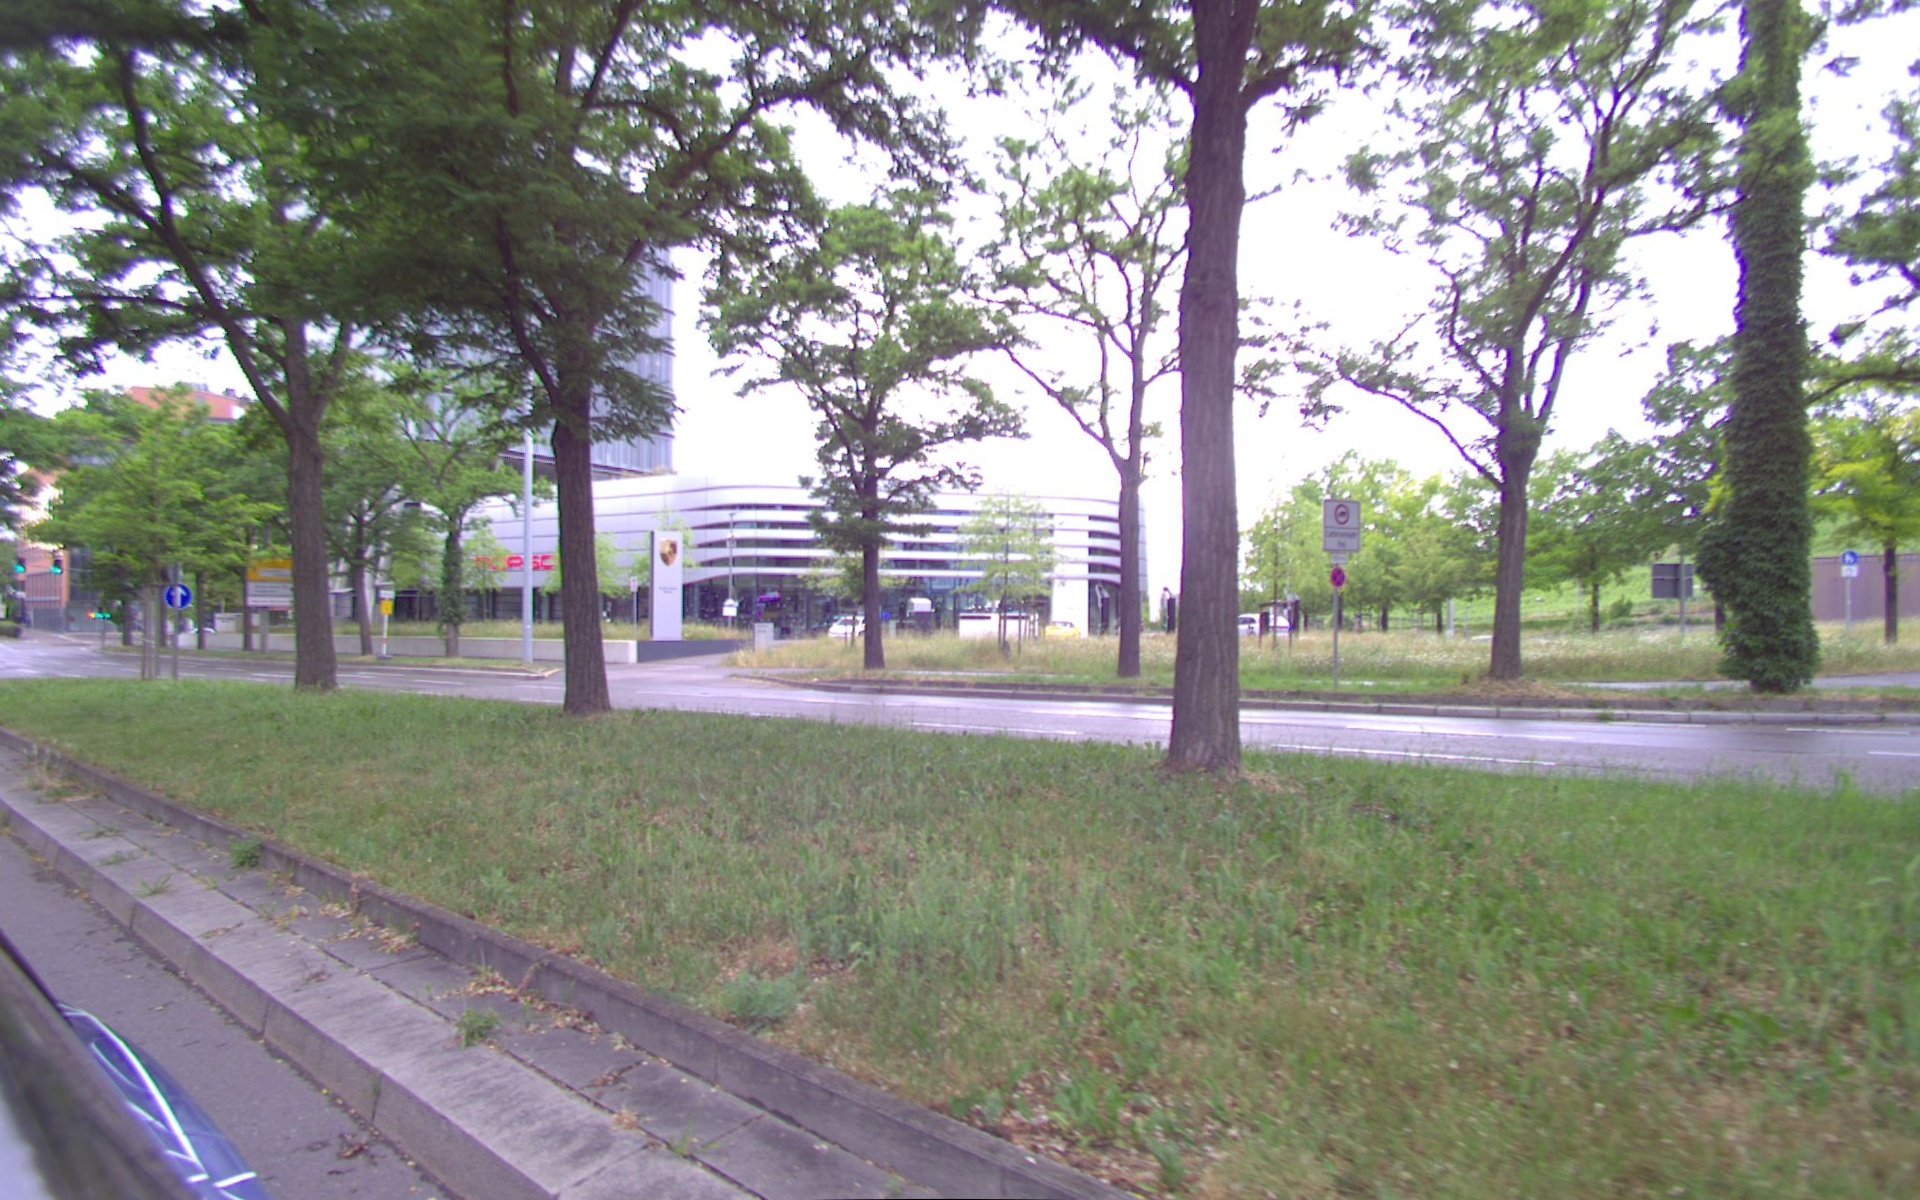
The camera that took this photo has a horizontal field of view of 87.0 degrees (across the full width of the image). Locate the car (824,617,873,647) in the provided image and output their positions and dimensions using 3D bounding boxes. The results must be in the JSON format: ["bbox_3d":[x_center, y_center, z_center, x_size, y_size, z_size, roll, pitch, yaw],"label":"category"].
[{"bbox_3d":[-6.058,1.706,55.411,1.757,1.423,3.991,-1,1,7],"label":"car"}]

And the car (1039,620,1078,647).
[{"bbox_3d":[5.696,1.914,58.209,1.605,1.333,3.981,-1,1,15],"label":"car"}]

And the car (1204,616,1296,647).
[{"bbox_3d":[13.073,1.396,45.866,1.592,1.254,4.012,-2,1,-30],"label":"car"}]
